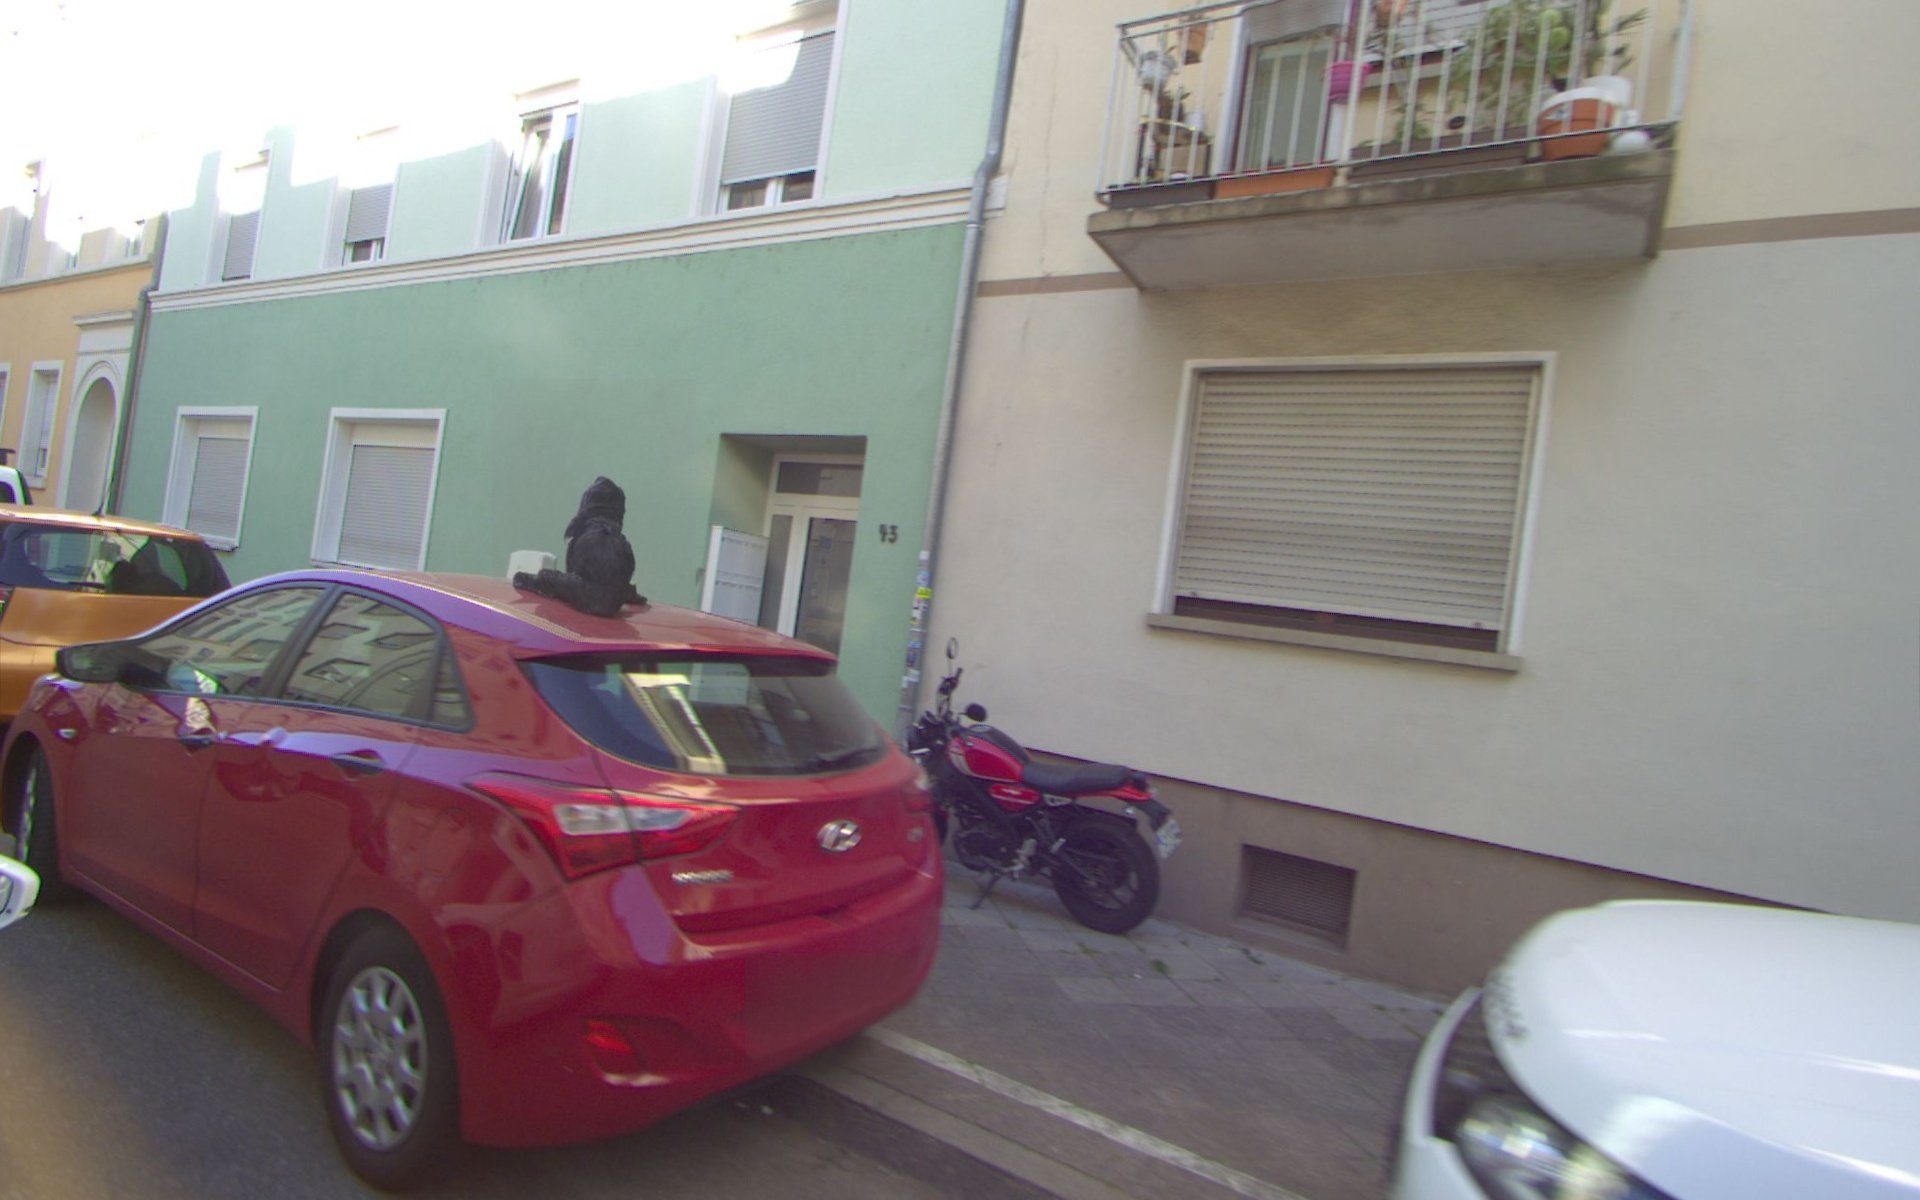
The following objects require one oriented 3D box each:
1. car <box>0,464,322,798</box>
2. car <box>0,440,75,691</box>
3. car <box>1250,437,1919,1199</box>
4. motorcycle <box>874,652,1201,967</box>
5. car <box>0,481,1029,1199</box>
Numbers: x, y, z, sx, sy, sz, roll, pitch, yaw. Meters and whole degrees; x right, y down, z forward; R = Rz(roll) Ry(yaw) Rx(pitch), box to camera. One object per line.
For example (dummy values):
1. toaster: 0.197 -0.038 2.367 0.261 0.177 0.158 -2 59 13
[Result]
1. car: -6.008 0.045 6.422 3.619 1.650 1.585 7 -3 30
2. car: -9.723 -0.521 8.668 4.263 1.984 1.785 6 -1 31
3. car: 2.929 1.054 0.841 4.856 1.804 2.009 8 -1 32
4. motorcycle: 0.392 1.019 5.363 1.478 1.295 0.657 7 1 32
5. car: -1.977 0.592 3.828 3.965 1.587 1.745 7 -1 32
